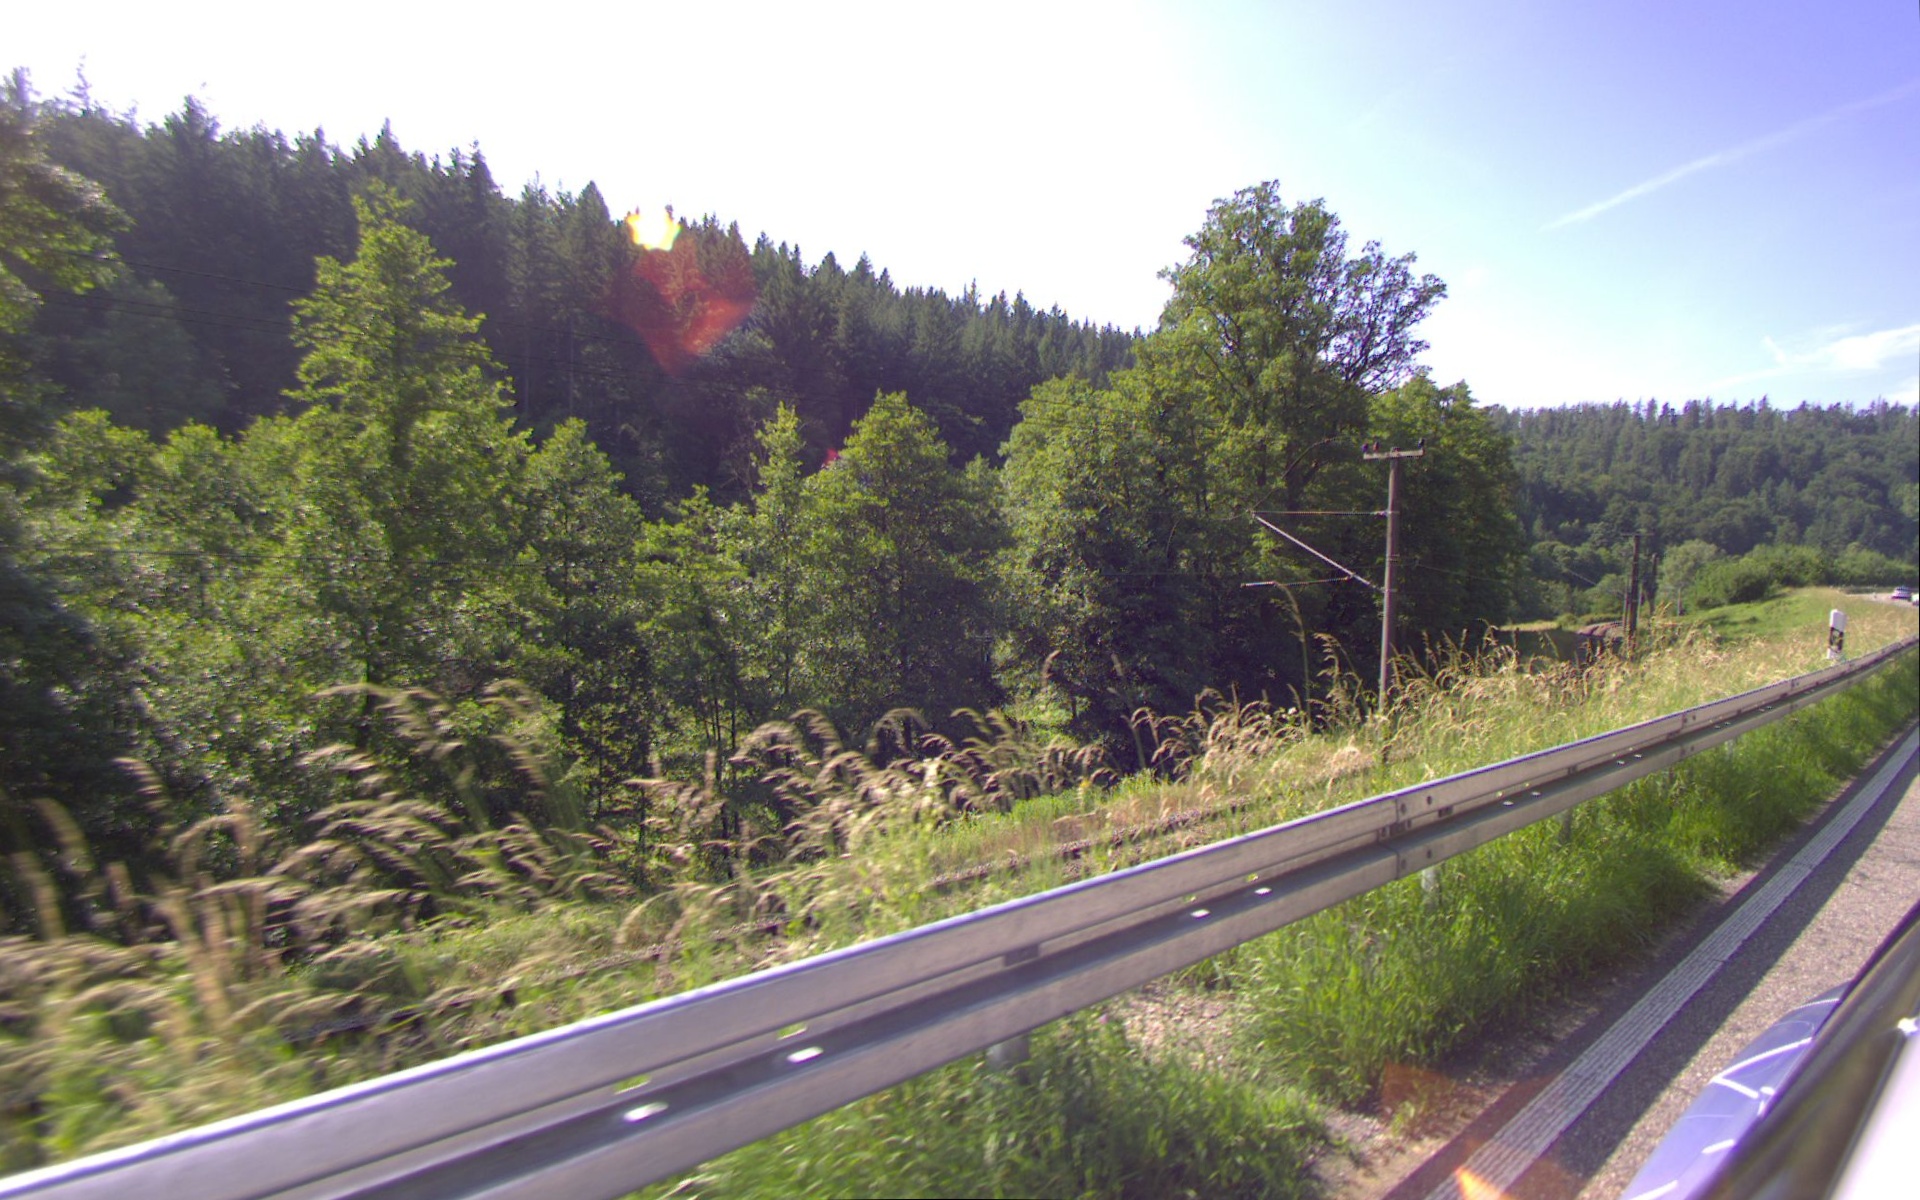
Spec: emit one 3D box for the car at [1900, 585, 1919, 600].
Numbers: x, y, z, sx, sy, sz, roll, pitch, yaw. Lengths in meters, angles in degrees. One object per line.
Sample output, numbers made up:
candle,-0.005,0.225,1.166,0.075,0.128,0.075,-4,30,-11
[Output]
car,113.670,-0.884,120.777,1.865,1.643,4.410,2,2,39
